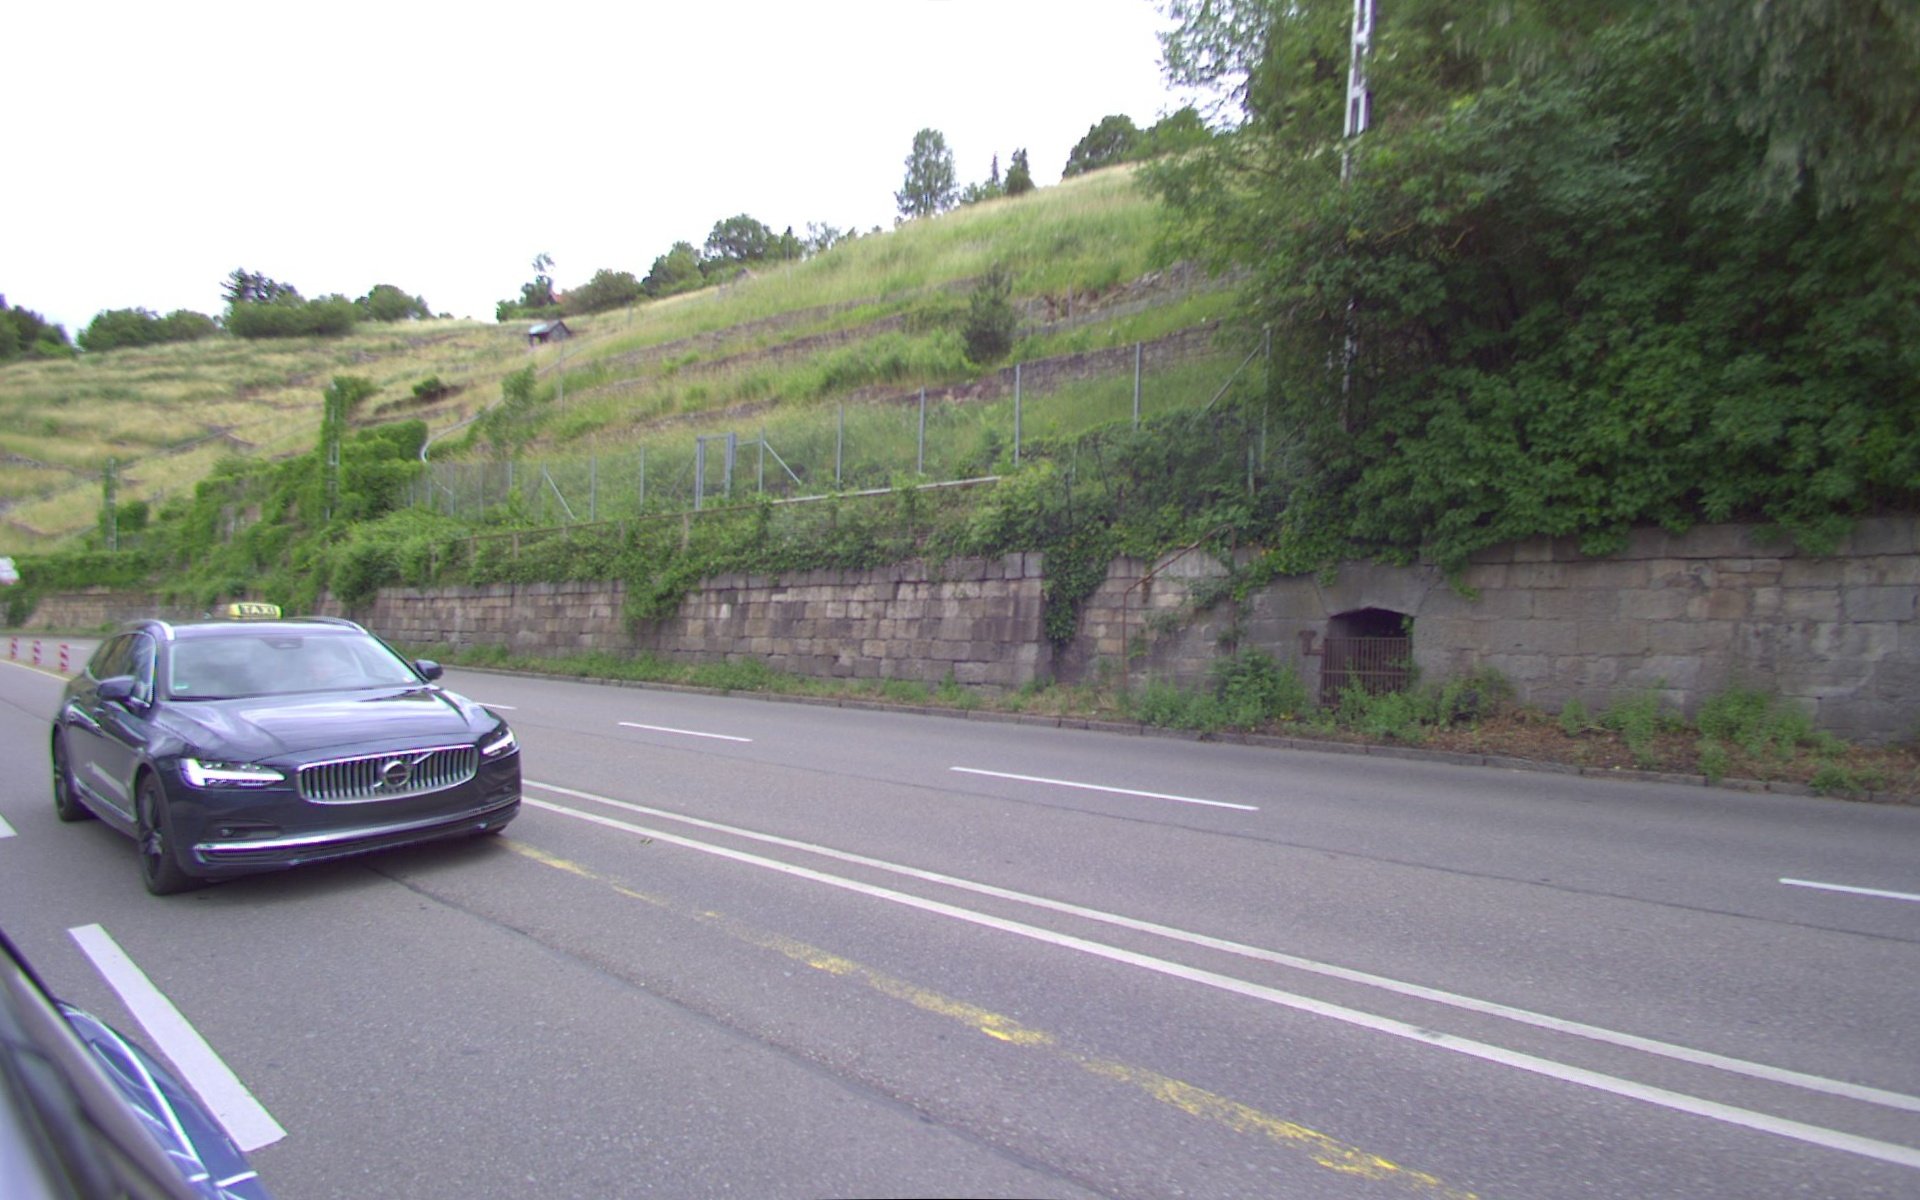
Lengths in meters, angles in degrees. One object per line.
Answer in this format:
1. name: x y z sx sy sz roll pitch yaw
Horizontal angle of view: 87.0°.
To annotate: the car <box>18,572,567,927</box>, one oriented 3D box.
1. car: -4.857 0.691 6.976 5.025 1.588 1.914 -1 1 42
